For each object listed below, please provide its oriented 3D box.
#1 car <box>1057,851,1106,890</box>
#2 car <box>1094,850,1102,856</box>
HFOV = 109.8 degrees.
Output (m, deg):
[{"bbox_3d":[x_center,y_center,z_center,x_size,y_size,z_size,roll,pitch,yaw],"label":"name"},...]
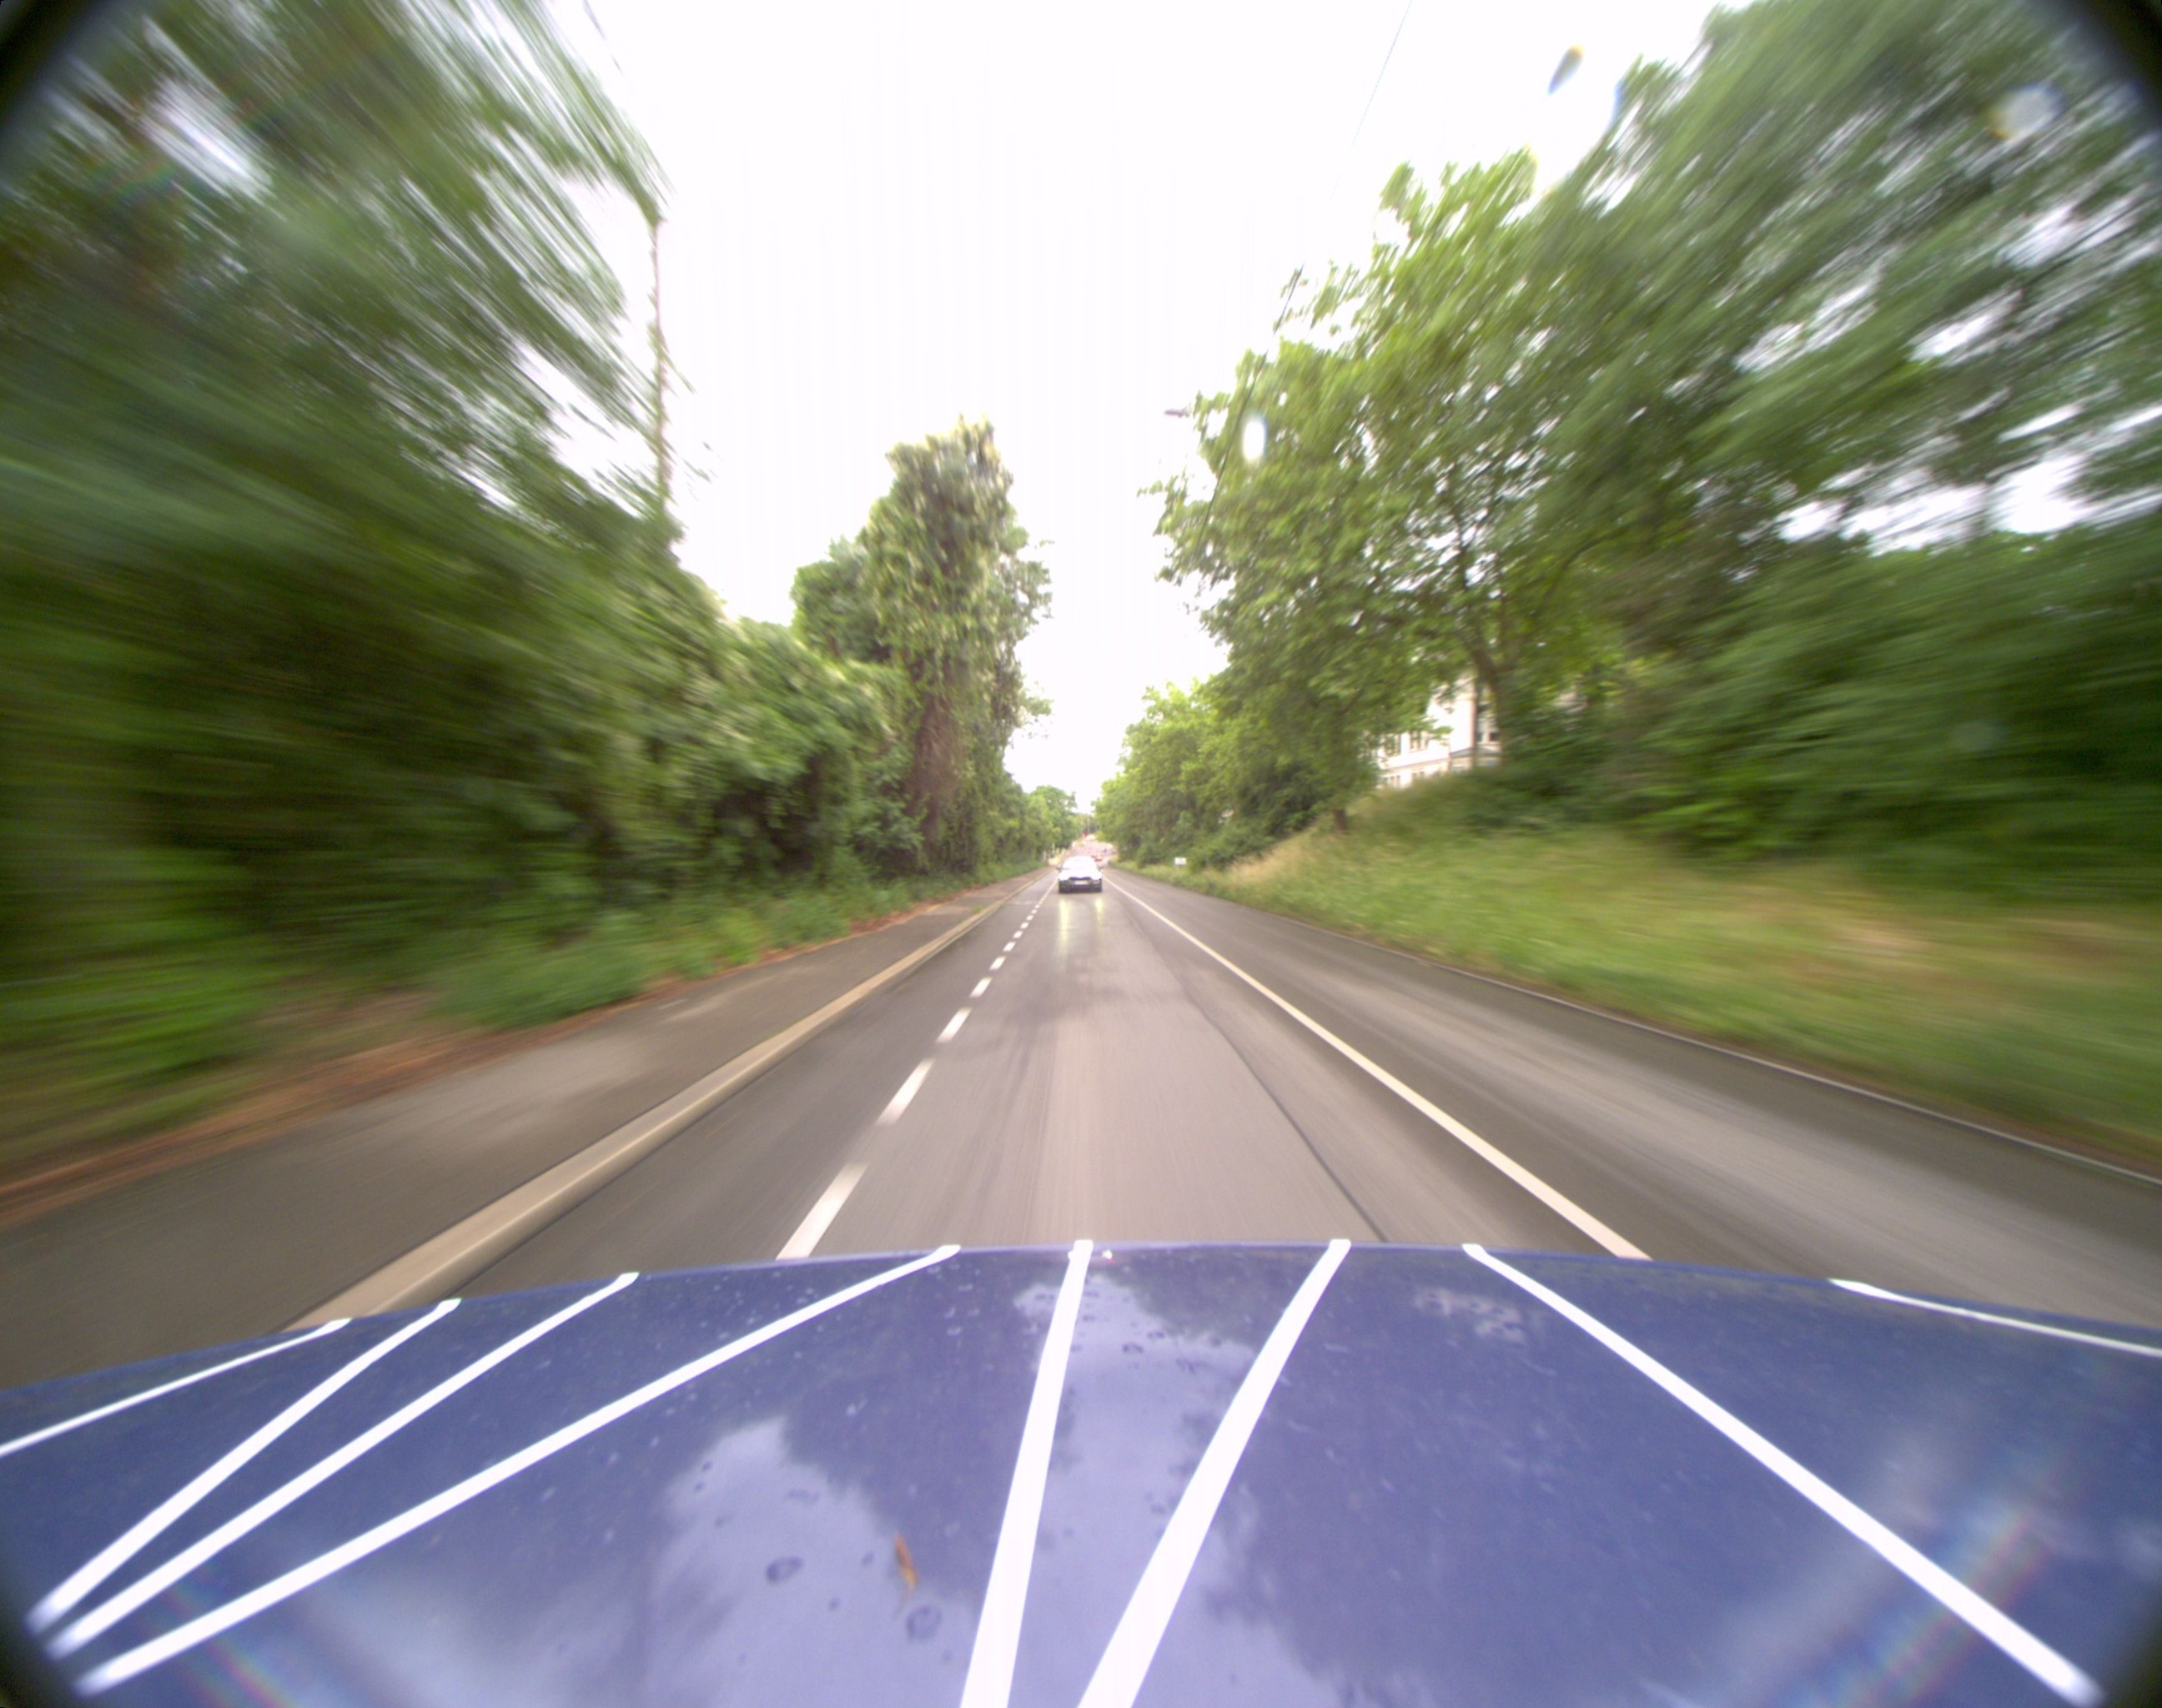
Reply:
[{"bbox_3d":[-0.007,0.660,33.234,1.981,1.497,3.999,-2,1,-1],"label":"car"},{"bbox_3d":[4.516,-0.235,203.641,1.981,1.497,3.999,-2,1,-1],"label":"car"}]
